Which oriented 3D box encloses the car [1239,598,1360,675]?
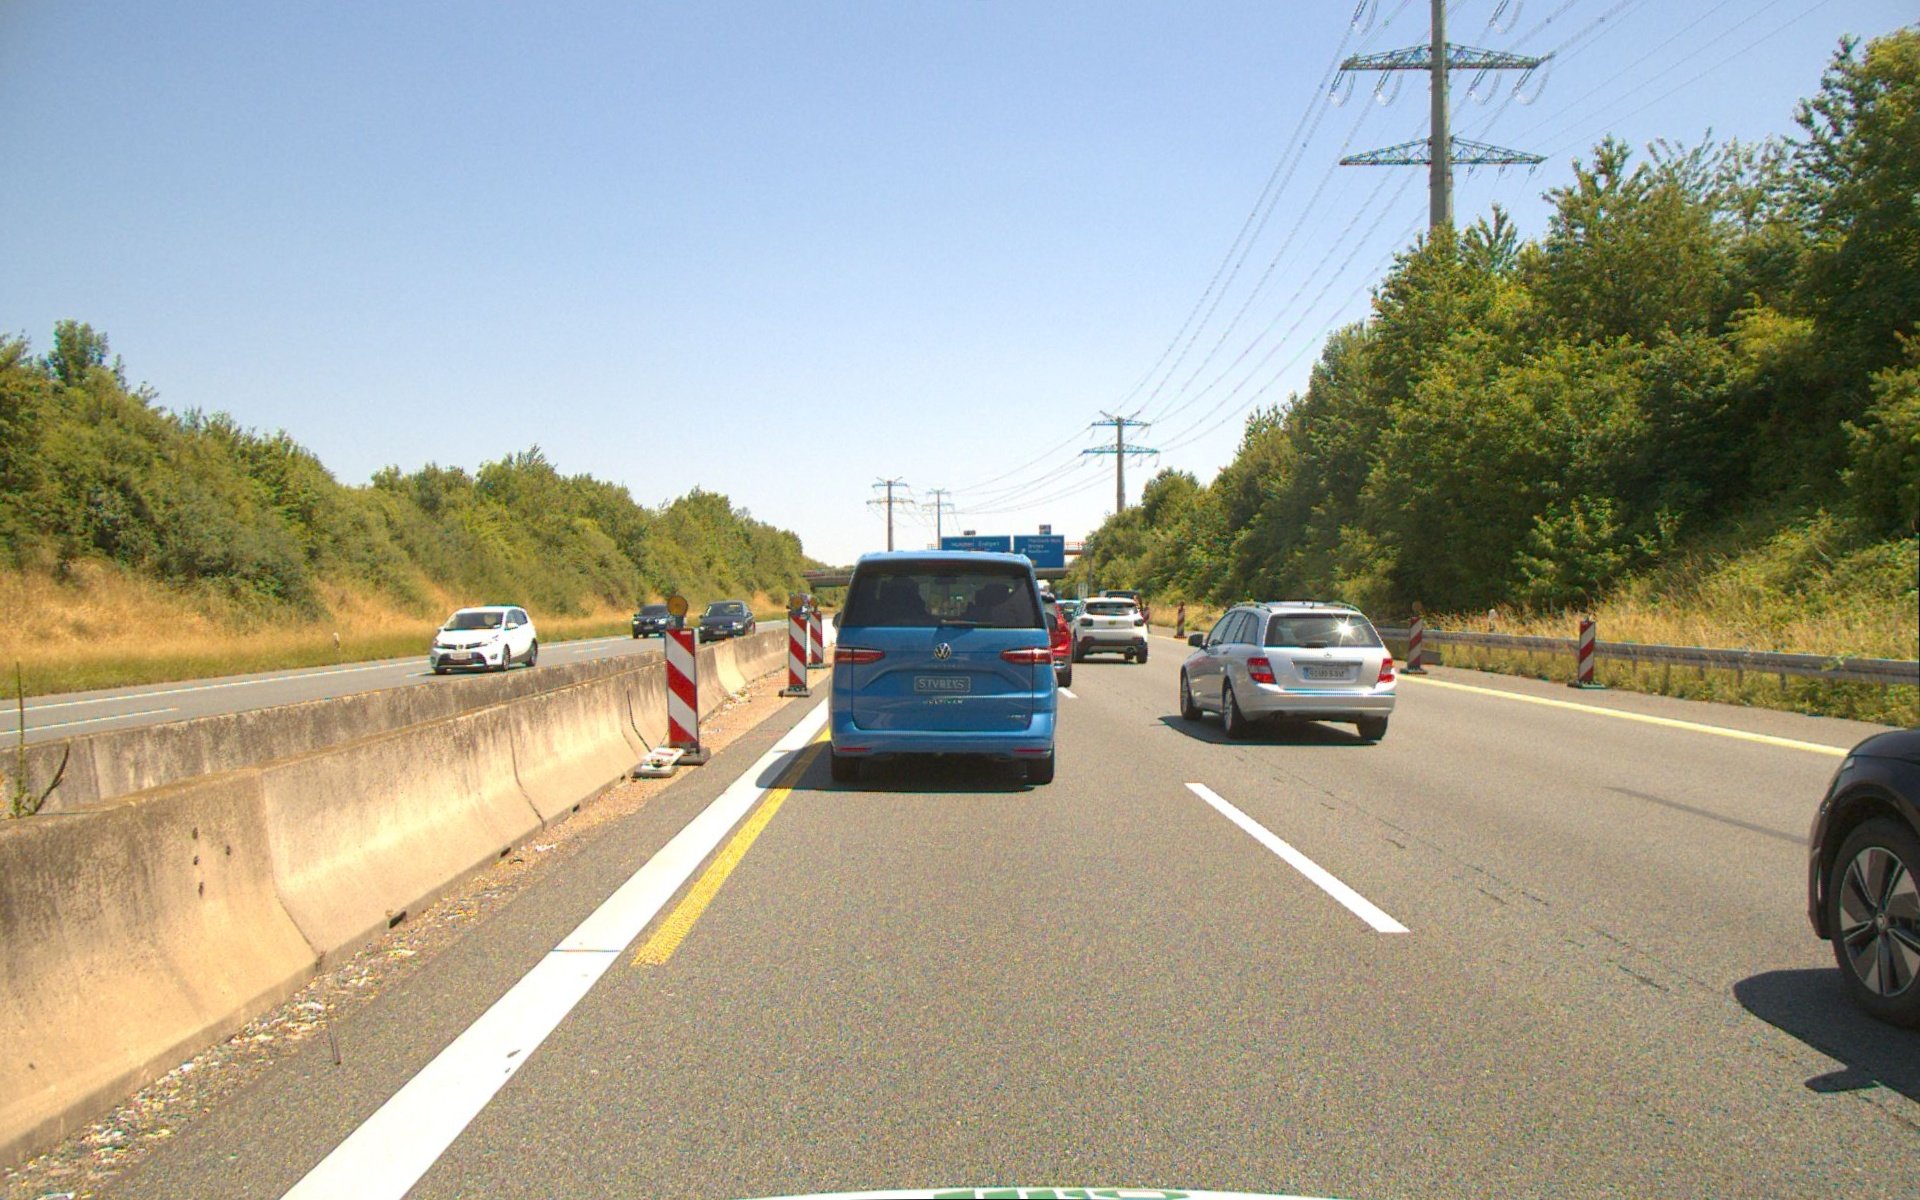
[{"bbox_3d":[6.974,0.722,34.342,1.666,1.473,3.787,1,0,-1],"label":"car"}]

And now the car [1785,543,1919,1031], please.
[{"bbox_3d":[4.201,0.657,4.414,1.666,1.684,4.428,1,0,-2],"label":"car"}]

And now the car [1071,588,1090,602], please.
[{"bbox_3d":[14.974,-0.650,205.310,1.837,1.700,4.358,1,0,-2],"label":"car"}]

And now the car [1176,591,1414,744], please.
[{"bbox_3d":[3.729,0.702,19.157,1.735,1.544,4.358,1,0,-2],"label":"car"}]

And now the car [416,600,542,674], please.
[{"bbox_3d":[-12.031,0.884,41.645,1.953,1.691,4.228,-1,0,-1],"label":"car"}]

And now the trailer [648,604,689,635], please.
[{"bbox_3d":[-15.847,1.044,90.069,1.537,1.579,3.778,-2,0,-1],"label":"trailer"}]

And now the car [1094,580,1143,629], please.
[{"bbox_3d":[6.910,0.179,72.464,1.761,2.049,4.227,1,0,0],"label":"car"}]

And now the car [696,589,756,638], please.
[{"bbox_3d":[-8.727,0.504,61.930,1.737,1.729,4.169,1,0,-2],"label":"car"}]

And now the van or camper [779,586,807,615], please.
[{"bbox_3d":[-16.688,0.037,165.172,2.178,2.758,7.078,-3,0,-2],"label":"van or camper"}]

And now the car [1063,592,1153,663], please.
[{"bbox_3d":[3.578,0.645,40.718,1.761,1.622,4.226,1,0,-1],"label":"car"}]

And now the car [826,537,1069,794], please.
[{"bbox_3d":[-0.151,0.514,14.906,1.837,1.945,4.358,1,0,-2],"label":"car"}]

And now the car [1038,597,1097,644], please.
[{"bbox_3d":[3.839,0.718,59.708,1.761,1.622,4.226,1,0,-1],"label":"car"}]

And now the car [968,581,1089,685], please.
[{"bbox_3d":[1.155,0.556,29.631,1.837,1.700,4.358,1,0,-2],"label":"car"}]

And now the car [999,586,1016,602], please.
[{"bbox_3d":[7.368,-0.902,257.527,2.329,2.470,4.226,1,0,-1],"label":"car"}]

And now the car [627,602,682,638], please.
[{"bbox_3d":[-15.806,1.023,85.850,1.953,1.678,4.629,-3,0,-1],"label":"car"}]
